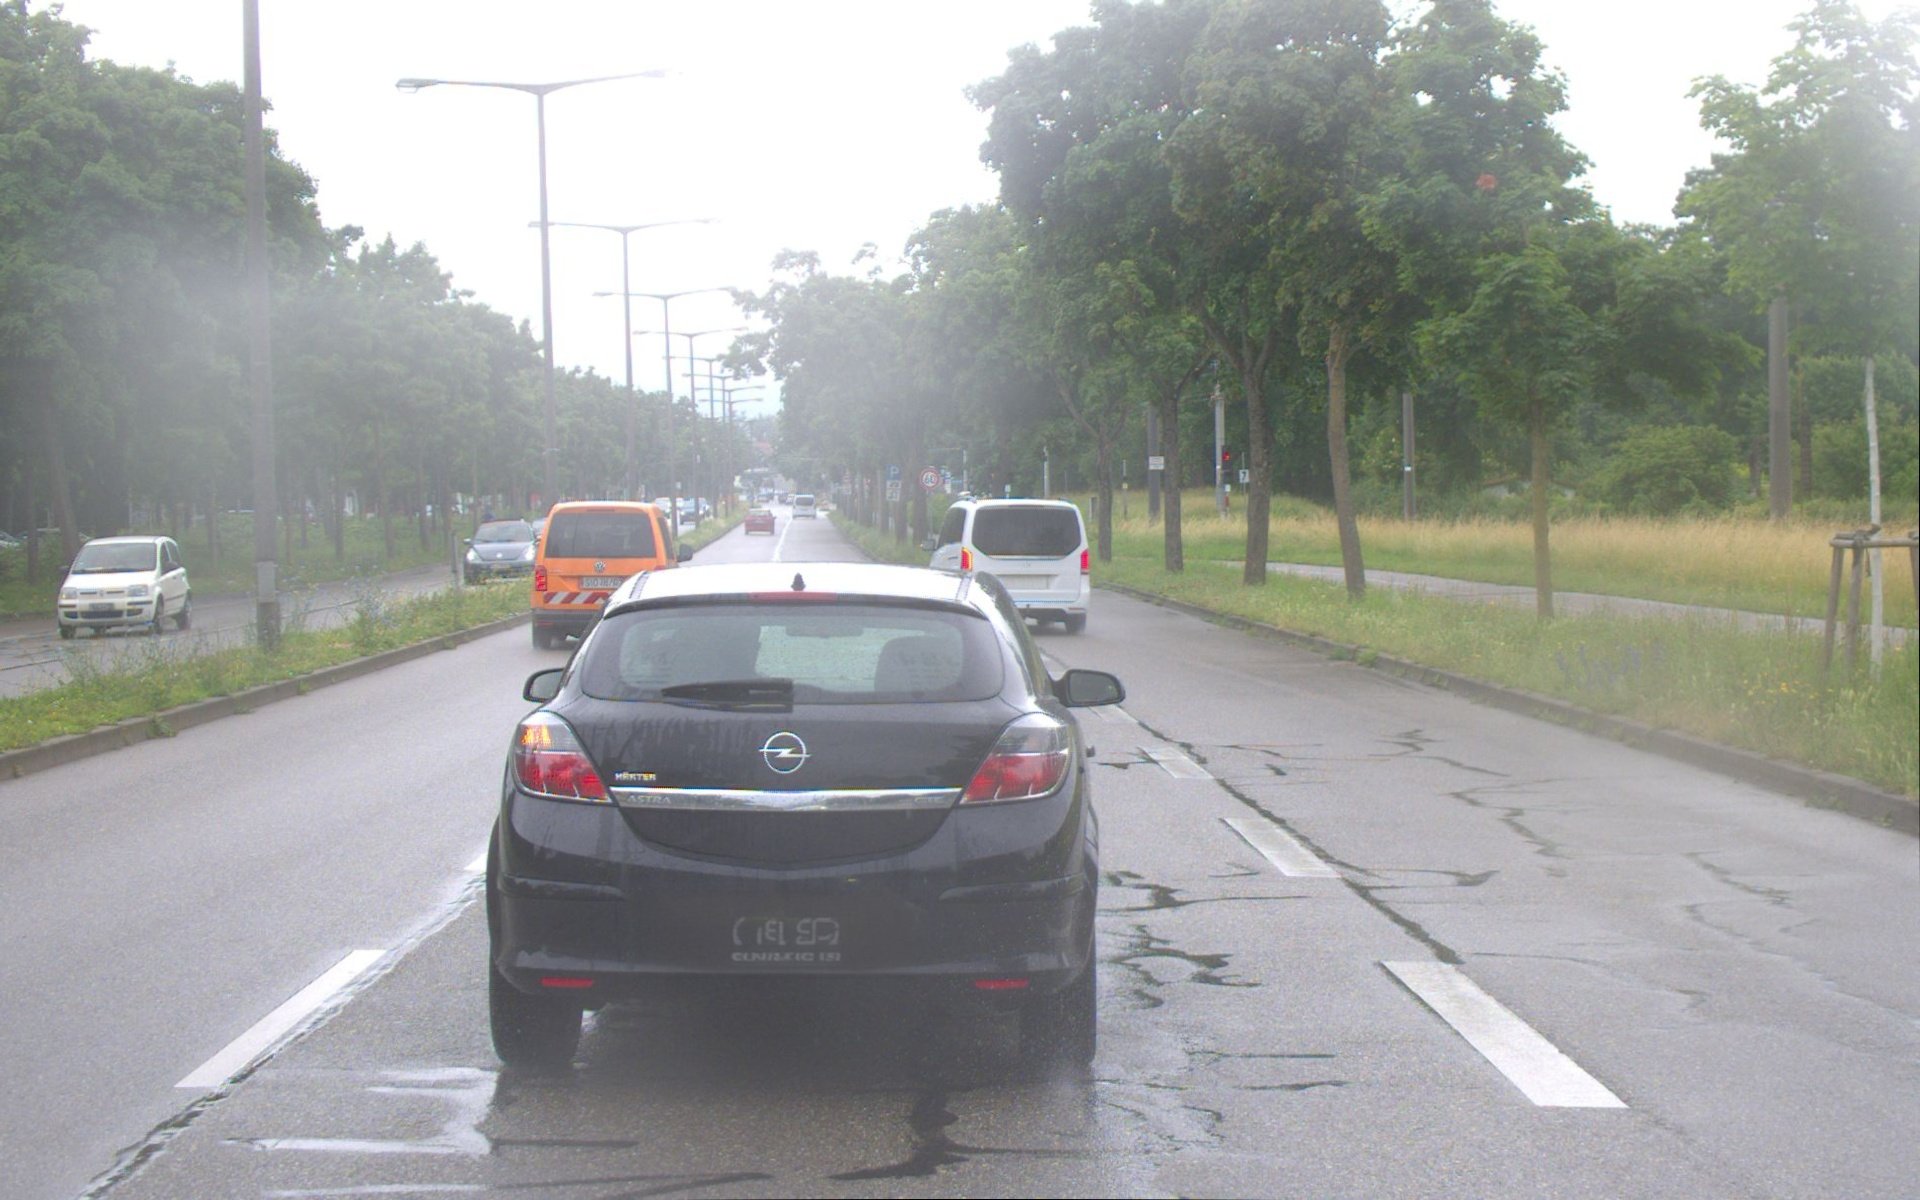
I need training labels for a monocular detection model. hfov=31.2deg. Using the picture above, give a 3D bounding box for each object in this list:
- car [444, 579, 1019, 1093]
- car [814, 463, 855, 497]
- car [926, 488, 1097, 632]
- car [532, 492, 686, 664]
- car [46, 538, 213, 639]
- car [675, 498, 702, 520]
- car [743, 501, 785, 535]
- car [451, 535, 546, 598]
[{"bbox_3d":[-0.561,0.598,10.780,1.463,1.324,3.758,0,0,1],"label":"car"},{"bbox_3d":[-8.144,-7.774,223.204,2.516,2.045,5.294,2,1,-2],"label":"car"},{"bbox_3d":[0.688,-0.572,49.503,2.059,1.968,4.609,0,1,-4],"label":"car"},{"bbox_3d":[-4.388,-0.300,43.510,1.734,2.012,4.850,1,1,-4],"label":"car"},{"bbox_3d":[-13.285,-0.210,55.179,1.683,1.548,4.000,0,1,1],"label":"car"},{"bbox_3d":[-19.313,-6.480,244.635,1.720,1.524,3.809,-1,1,-1],"label":"car"},{"bbox_3d":[-10.957,-4.571,192.310,1.993,1.873,4.000,0,1,2],"label":"car"},{"bbox_3d":[-11.161,-0.823,83.310,1.827,1.445,3.809,-1,1,-1],"label":"car"}]
